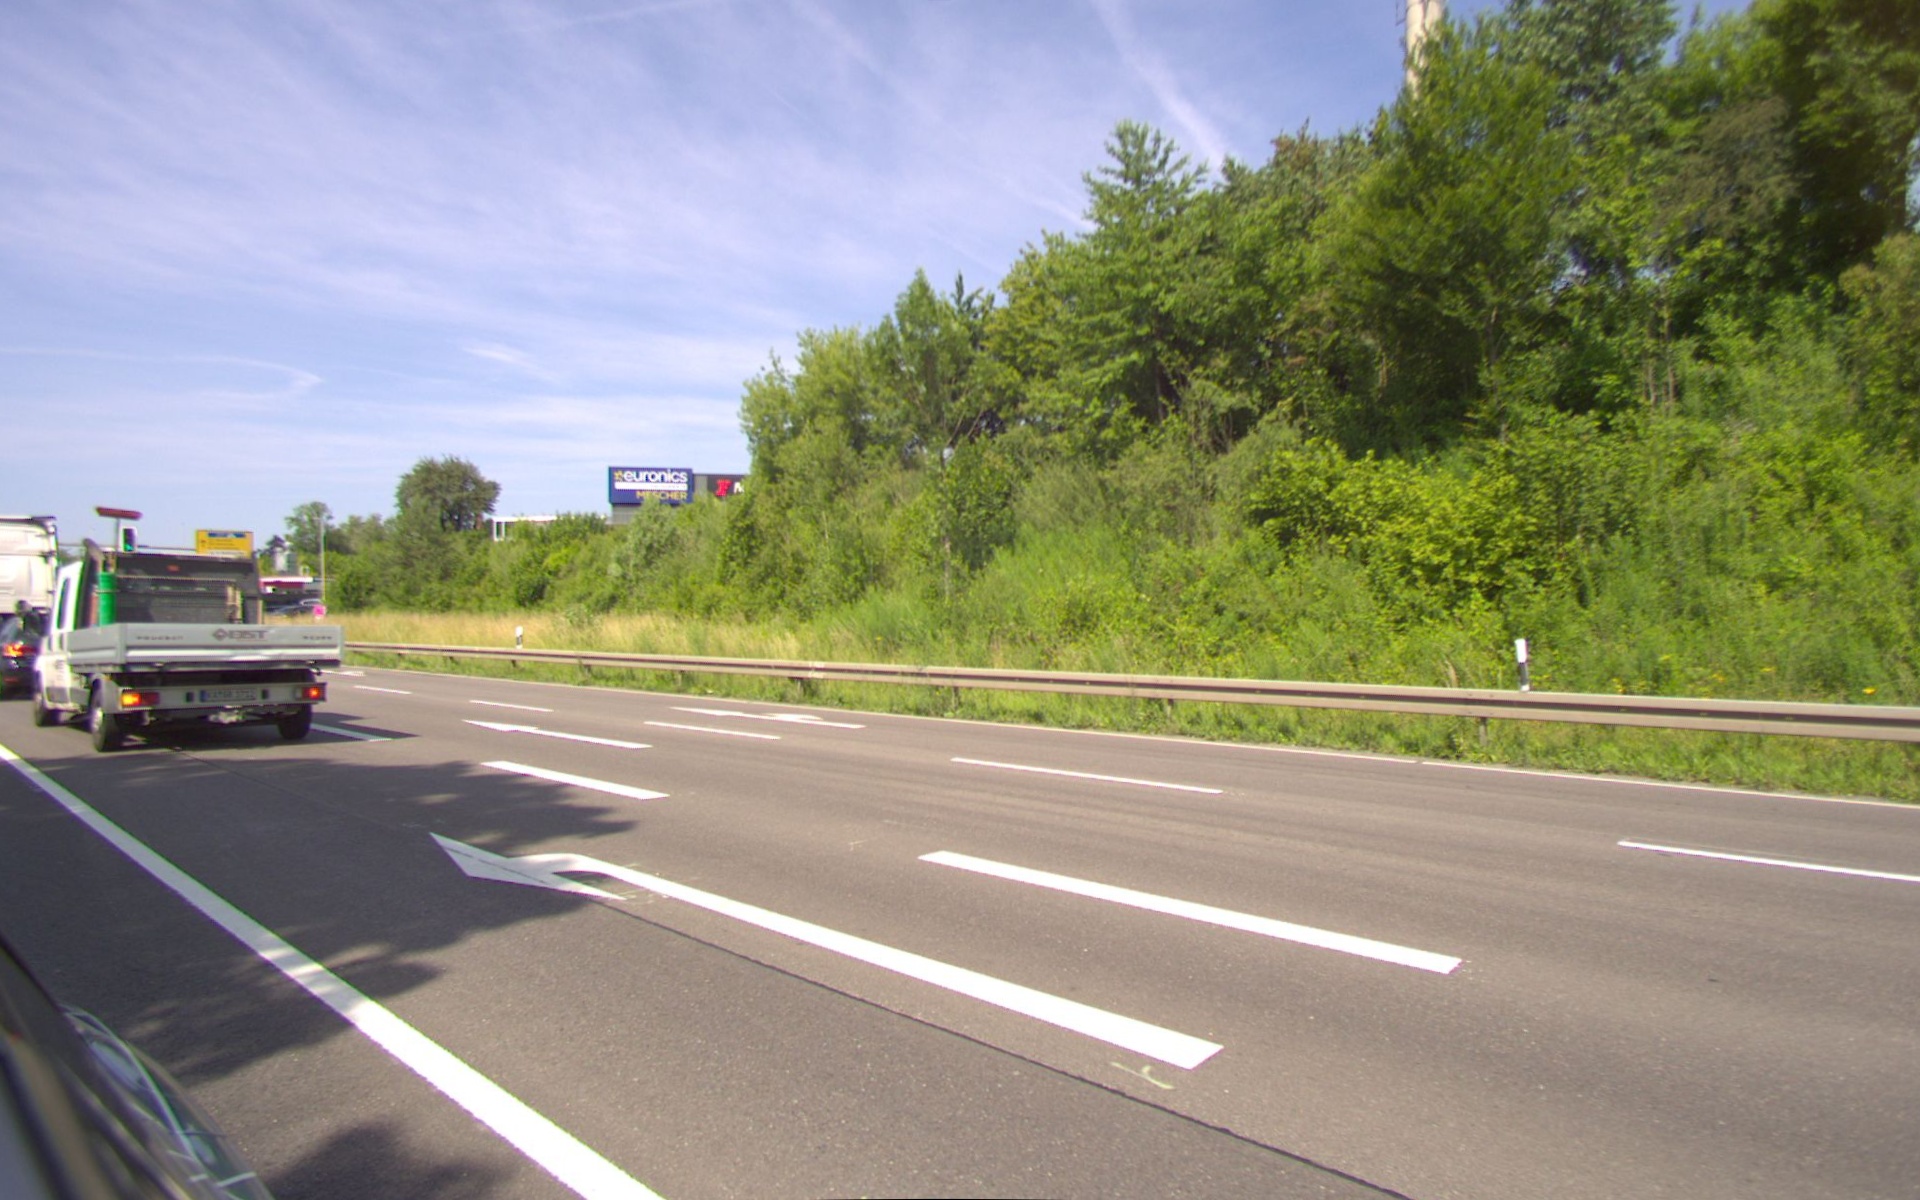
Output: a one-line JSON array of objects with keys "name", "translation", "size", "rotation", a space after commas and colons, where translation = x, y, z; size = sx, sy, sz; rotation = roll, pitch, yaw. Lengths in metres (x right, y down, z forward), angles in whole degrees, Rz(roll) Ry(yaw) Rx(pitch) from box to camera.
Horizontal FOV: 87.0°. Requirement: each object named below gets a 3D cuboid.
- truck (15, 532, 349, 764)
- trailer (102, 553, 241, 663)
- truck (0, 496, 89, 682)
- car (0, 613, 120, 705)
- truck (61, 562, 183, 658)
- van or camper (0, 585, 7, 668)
[{"name": "truck", "translation": [-10.196, 0.519, 12.983], "size": [6.497, 2.285, 2.203], "rotation": [-1, -2, 42]}, {"name": "trailer", "translation": [-32.769, 0.365, 41.891], "size": [8.750, 4.100, 2.811], "rotation": [-1, -2, 41]}, {"name": "truck", "translation": [-23.528, -0.210, 24.649], "size": [6.261, 4.119, 2.511], "rotation": [-1, -2, 40]}, {"name": "car", "translation": [-17.296, 1.029, 19.013], "size": [4.107, 1.563, 1.693], "rotation": [-1, -2, 41]}, {"name": "truck", "translation": [-39.751, 0.489, 47.847], "size": [9.676, 4.147, 2.800], "rotation": [-1, -2, 41]}, {"name": "van or camper", "translation": [-33.553, 0.863, 33.493], "size": [6.976, 2.620, 2.306], "rotation": [-1, -2, 42]}]
